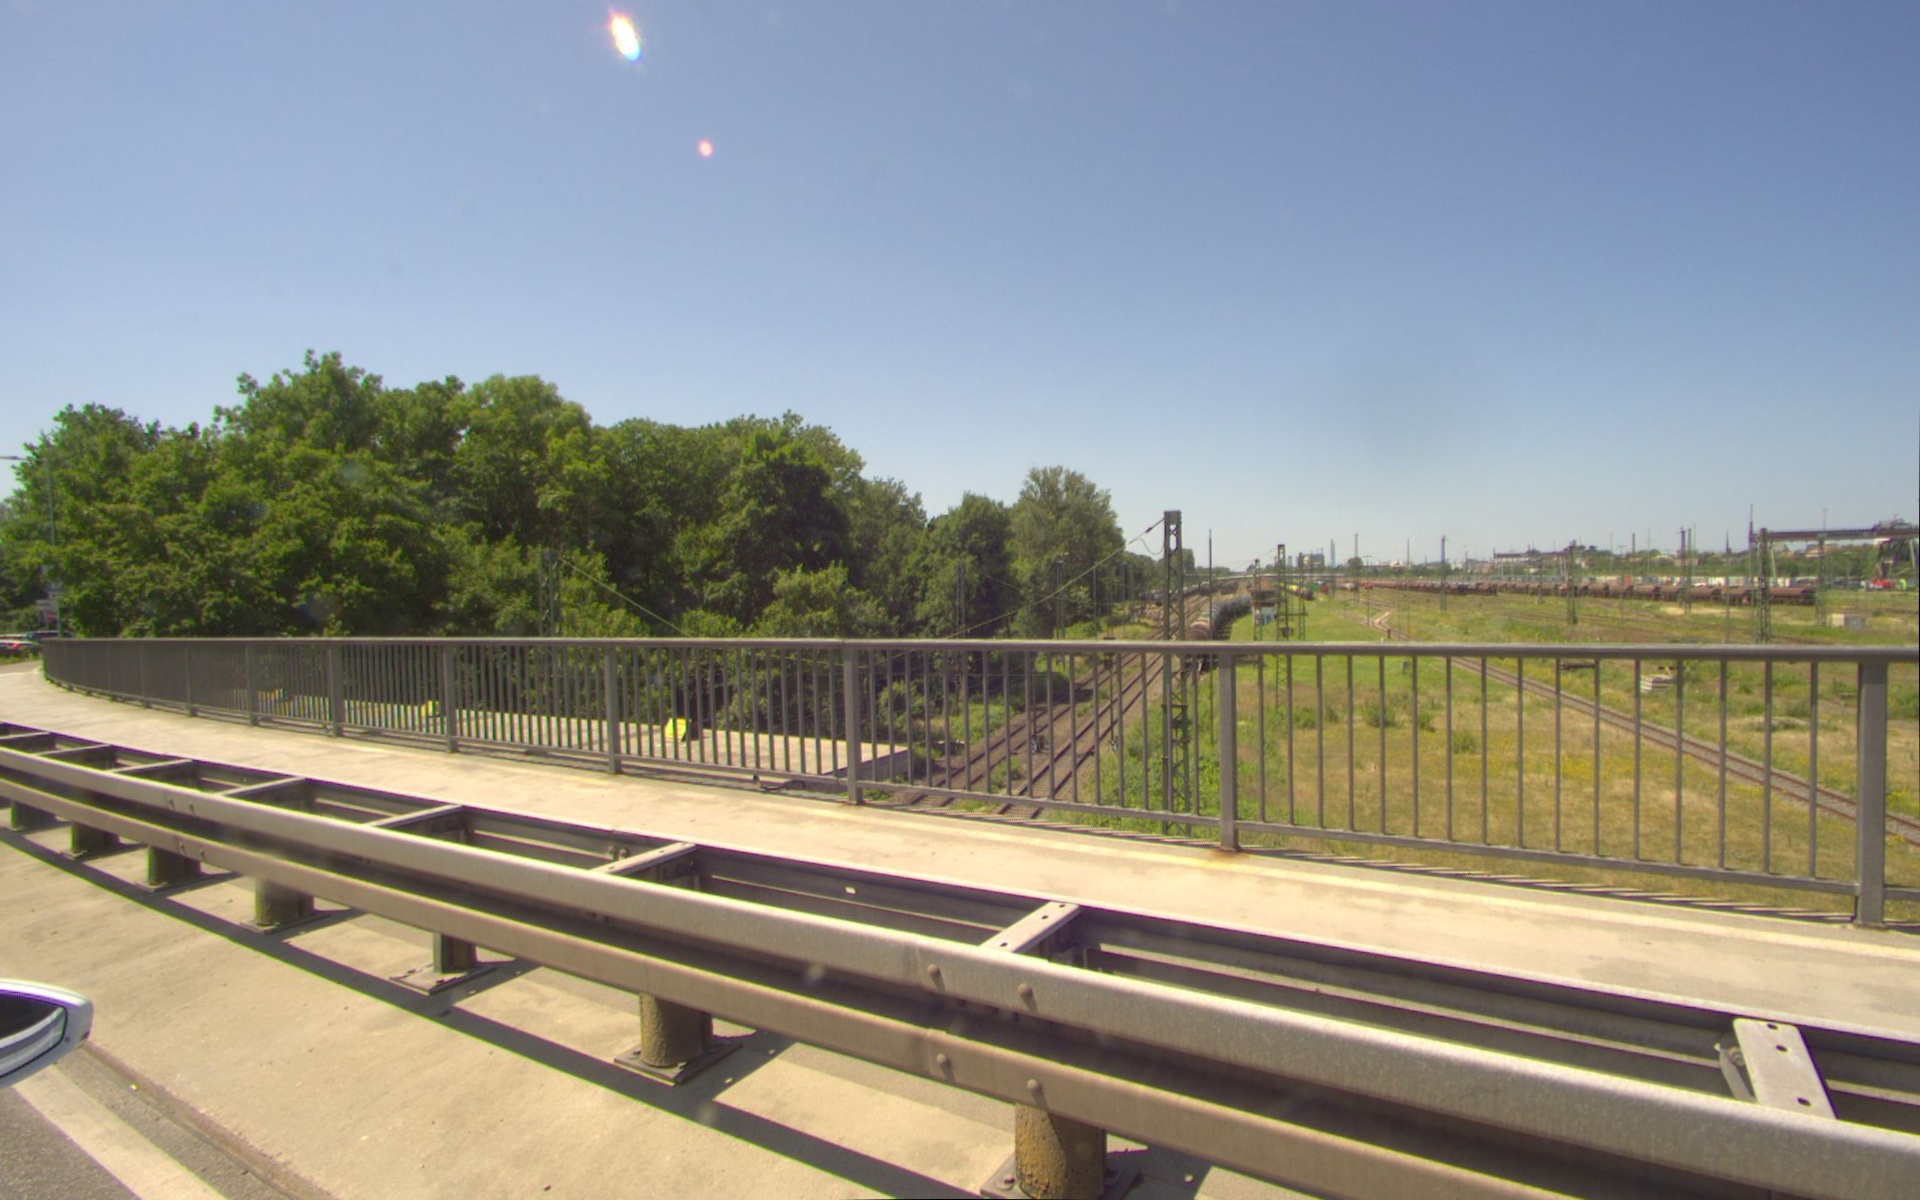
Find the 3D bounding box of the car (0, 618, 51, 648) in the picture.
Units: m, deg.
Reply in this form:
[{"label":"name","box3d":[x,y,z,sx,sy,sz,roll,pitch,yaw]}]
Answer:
[{"label":"car","box3d":[-52.883,1.882,56.180,1.972,1.594,3.981,2,-4,-31]}]

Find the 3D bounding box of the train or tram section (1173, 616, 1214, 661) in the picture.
[{"label":"train or tram section","box3d":[28.190,4.474,120.162,3.783,4.366,13.605,-2,1,17]}]

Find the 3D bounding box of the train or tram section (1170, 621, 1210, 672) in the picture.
[{"label":"train or tram section","box3d":[24.643,4.863,106.979,3.781,4.366,13.612,-2,1,14]}]

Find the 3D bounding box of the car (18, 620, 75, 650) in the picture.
[{"label":"car","box3d":[-56.320,2.142,61.809,1.666,1.783,3.982,0,-2,-29]}]
